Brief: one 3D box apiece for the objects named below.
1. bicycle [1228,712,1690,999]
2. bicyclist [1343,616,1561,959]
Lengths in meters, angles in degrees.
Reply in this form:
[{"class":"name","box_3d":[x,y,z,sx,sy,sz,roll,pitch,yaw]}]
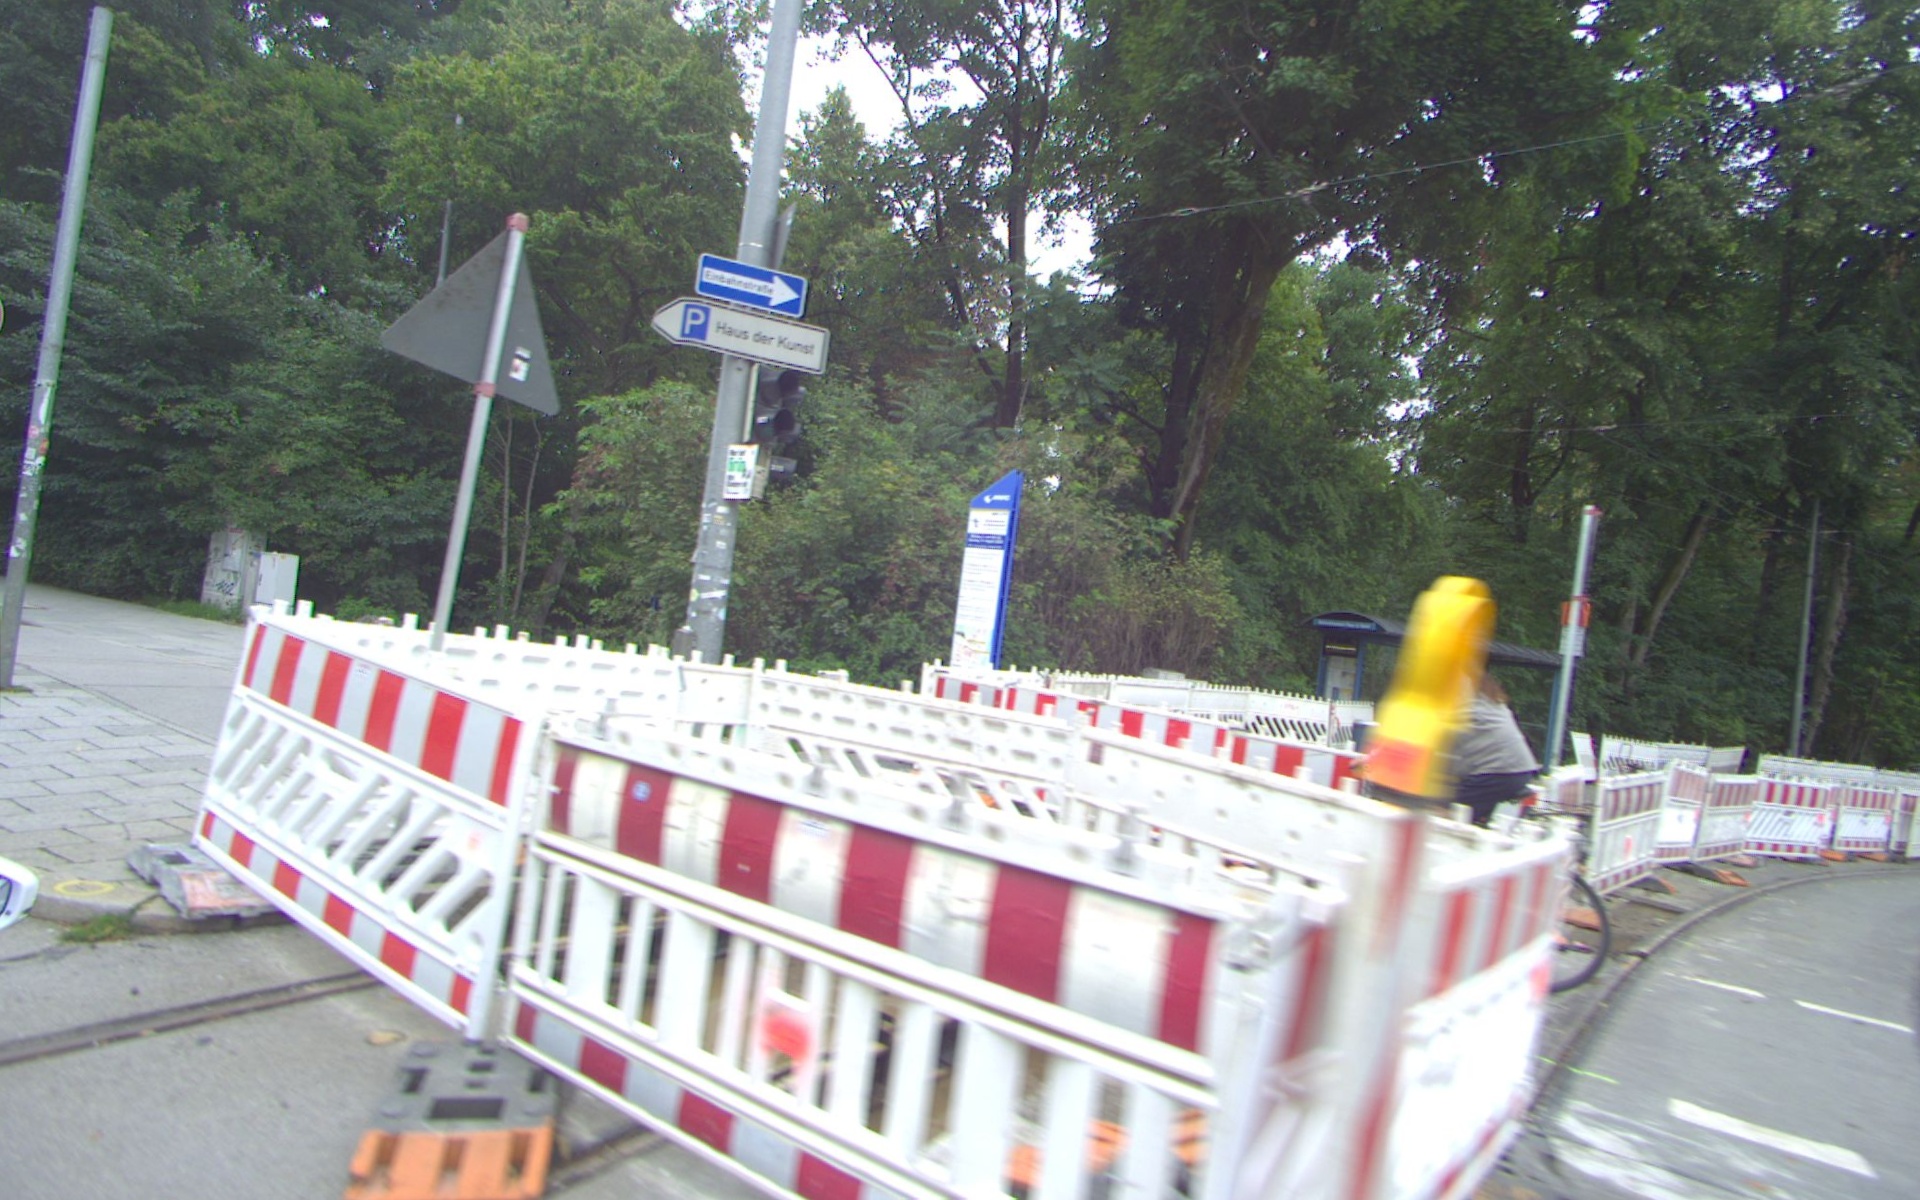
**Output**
[{"class":"bicycle","box_3d":[2.743,1.337,5.726,2.127,1.069,0.740,6,-3,31]},{"class":"bicyclist","box_3d":[2.813,1.010,5.731,0.884,1.685,0.758,6,-3,31]}]
